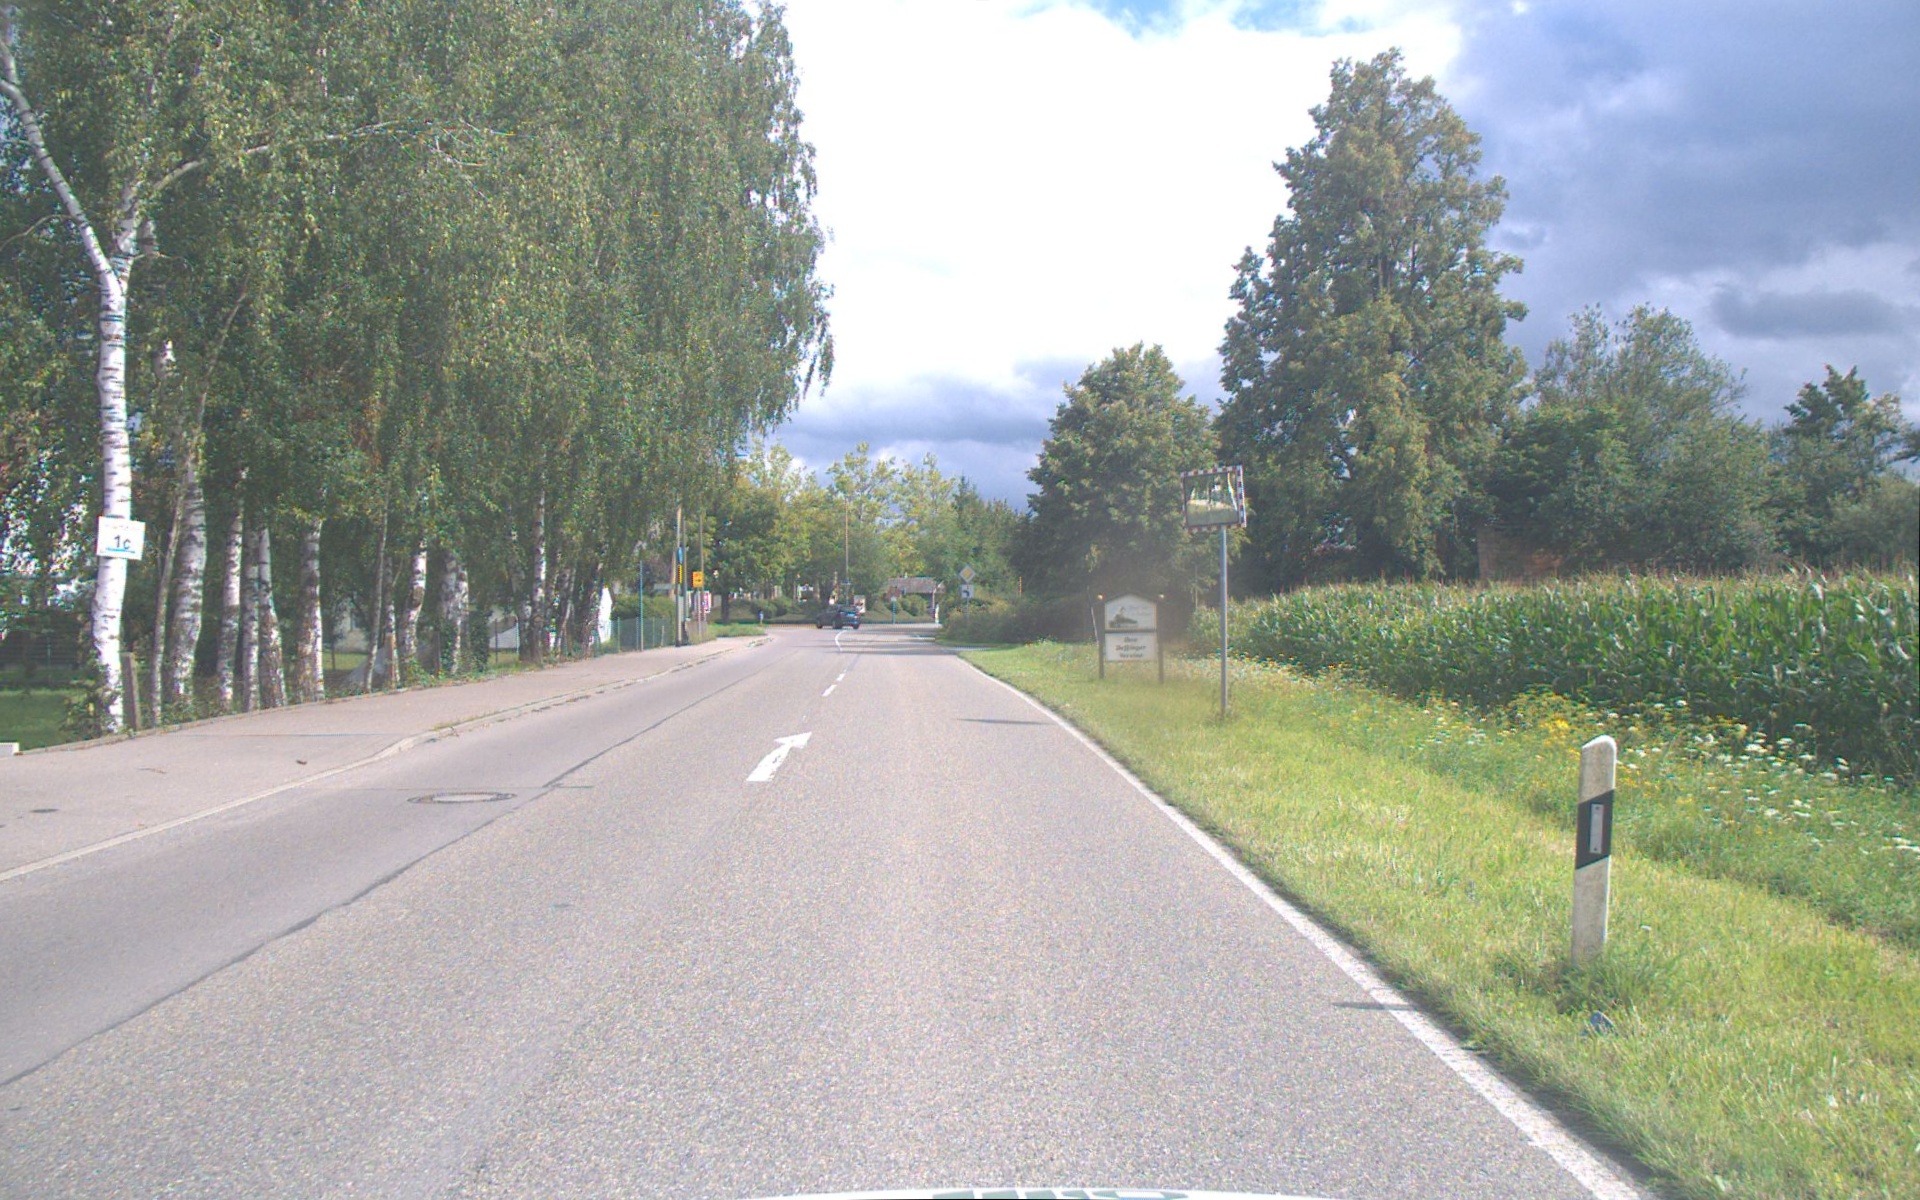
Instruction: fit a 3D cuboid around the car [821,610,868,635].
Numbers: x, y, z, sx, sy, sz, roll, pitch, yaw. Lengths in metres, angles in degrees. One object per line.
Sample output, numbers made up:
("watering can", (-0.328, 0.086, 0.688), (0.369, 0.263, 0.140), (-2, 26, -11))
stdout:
("car", (-8.075, 1.555, 115.509), (1.969, 1.612, 3.967), (0, 0, -26))
